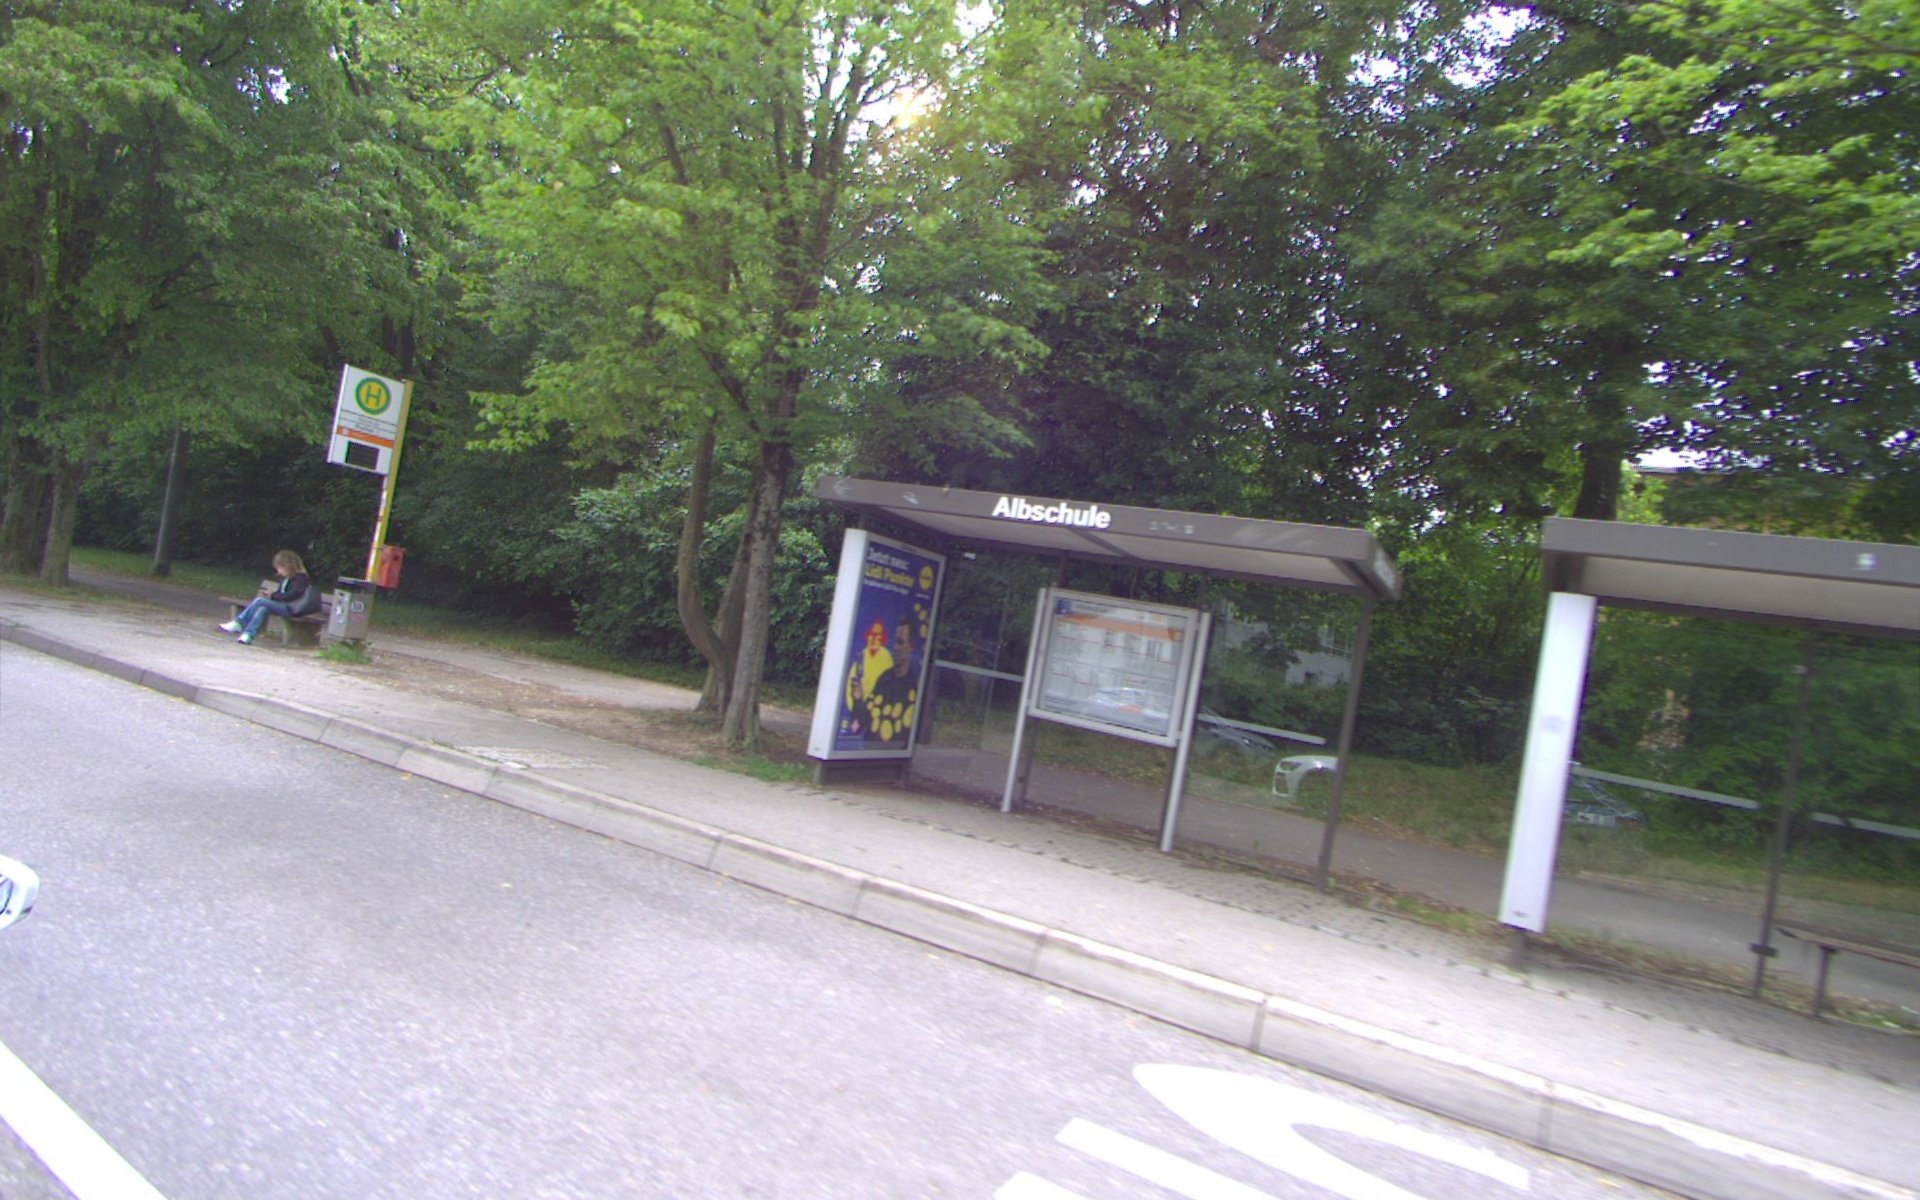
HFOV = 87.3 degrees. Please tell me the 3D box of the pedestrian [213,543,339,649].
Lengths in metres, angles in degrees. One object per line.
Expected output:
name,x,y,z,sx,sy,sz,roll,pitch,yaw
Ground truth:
pedestrian,-8.683,-0.037,12.802,0.570,1.196,1.067,7,-1,26
